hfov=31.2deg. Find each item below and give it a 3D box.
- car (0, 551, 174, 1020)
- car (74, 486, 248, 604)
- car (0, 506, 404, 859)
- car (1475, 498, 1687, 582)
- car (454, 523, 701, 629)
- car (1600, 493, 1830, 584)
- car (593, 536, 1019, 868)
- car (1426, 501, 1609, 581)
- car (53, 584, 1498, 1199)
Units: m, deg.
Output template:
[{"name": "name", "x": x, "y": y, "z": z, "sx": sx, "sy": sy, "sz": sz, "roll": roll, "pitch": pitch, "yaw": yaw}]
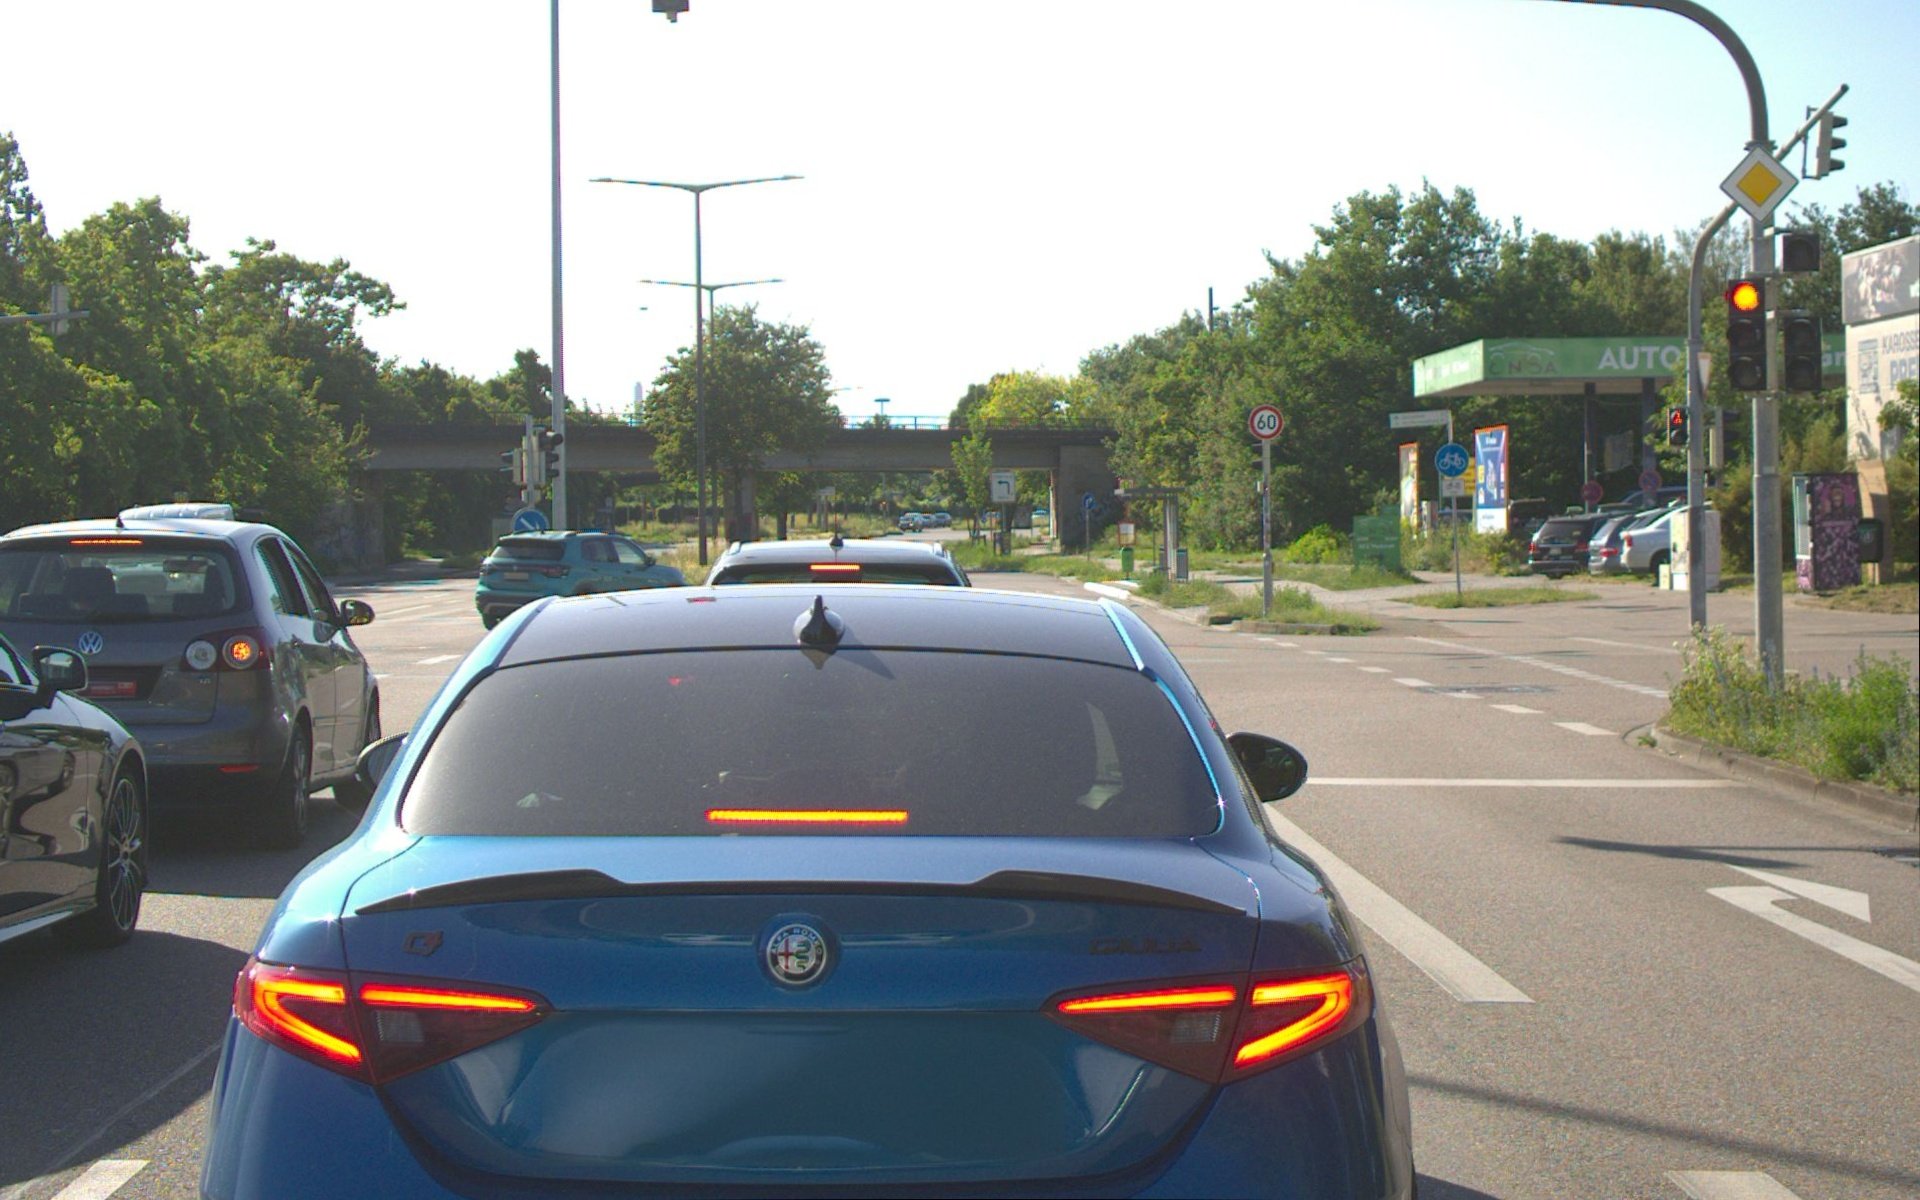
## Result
[{"name": "car", "x": -3.806, "y": 0.571, "z": 10.630, "sx": 1.768, "sy": 1.409, "sz": 4.461, "roll": 0, "pitch": 1, "yaw": -1}, {"name": "car", "x": -17.131, "y": -1.211, "z": 74.017, "sx": 2.431, "sy": 2.418, "sz": 5.831, "roll": 0, "pitch": 1, "yaw": -1}, {"name": "car", "x": -3.963, "y": 0.332, "z": 17.537, "sx": 1.648, "sy": 1.593, "sz": 3.932, "roll": 0, "pitch": 1, "yaw": -1}, {"name": "car", "x": 12.816, "y": -1.238, "z": 70.953, "sx": 3.986, "sy": 1.700, "sz": 1.696, "roll": -1, "pitch": 1, "yaw": -19}, {"name": "car", "x": -5.957, "y": -0.412, "z": 53.975, "sx": 1.822, "sy": 1.589, "sz": 4.044, "roll": 1, "pitch": 1, "yaw": 30}, {"name": "car", "x": 14.507, "y": -1.185, "z": 66.098, "sx": 3.986, "sy": 1.700, "sz": 1.696, "roll": -1, "pitch": 1, "yaw": -16}, {"name": "car", "x": -0.700, "y": 0.413, "z": 17.068, "sx": 1.866, "sy": 1.445, "sz": 3.932, "roll": 0, "pitch": 1, "yaw": -1}, {"name": "car", "x": 12.016, "y": -1.276, "z": 74.144, "sx": 3.483, "sy": 1.700, "sz": 1.696, "roll": -1, "pitch": 1, "yaw": -16}, {"name": "car", "x": -0.262, "y": 0.696, "z": 6.417, "sx": 1.866, "sy": 1.380, "sz": 3.932, "roll": 0, "pitch": 1, "yaw": -1}]
